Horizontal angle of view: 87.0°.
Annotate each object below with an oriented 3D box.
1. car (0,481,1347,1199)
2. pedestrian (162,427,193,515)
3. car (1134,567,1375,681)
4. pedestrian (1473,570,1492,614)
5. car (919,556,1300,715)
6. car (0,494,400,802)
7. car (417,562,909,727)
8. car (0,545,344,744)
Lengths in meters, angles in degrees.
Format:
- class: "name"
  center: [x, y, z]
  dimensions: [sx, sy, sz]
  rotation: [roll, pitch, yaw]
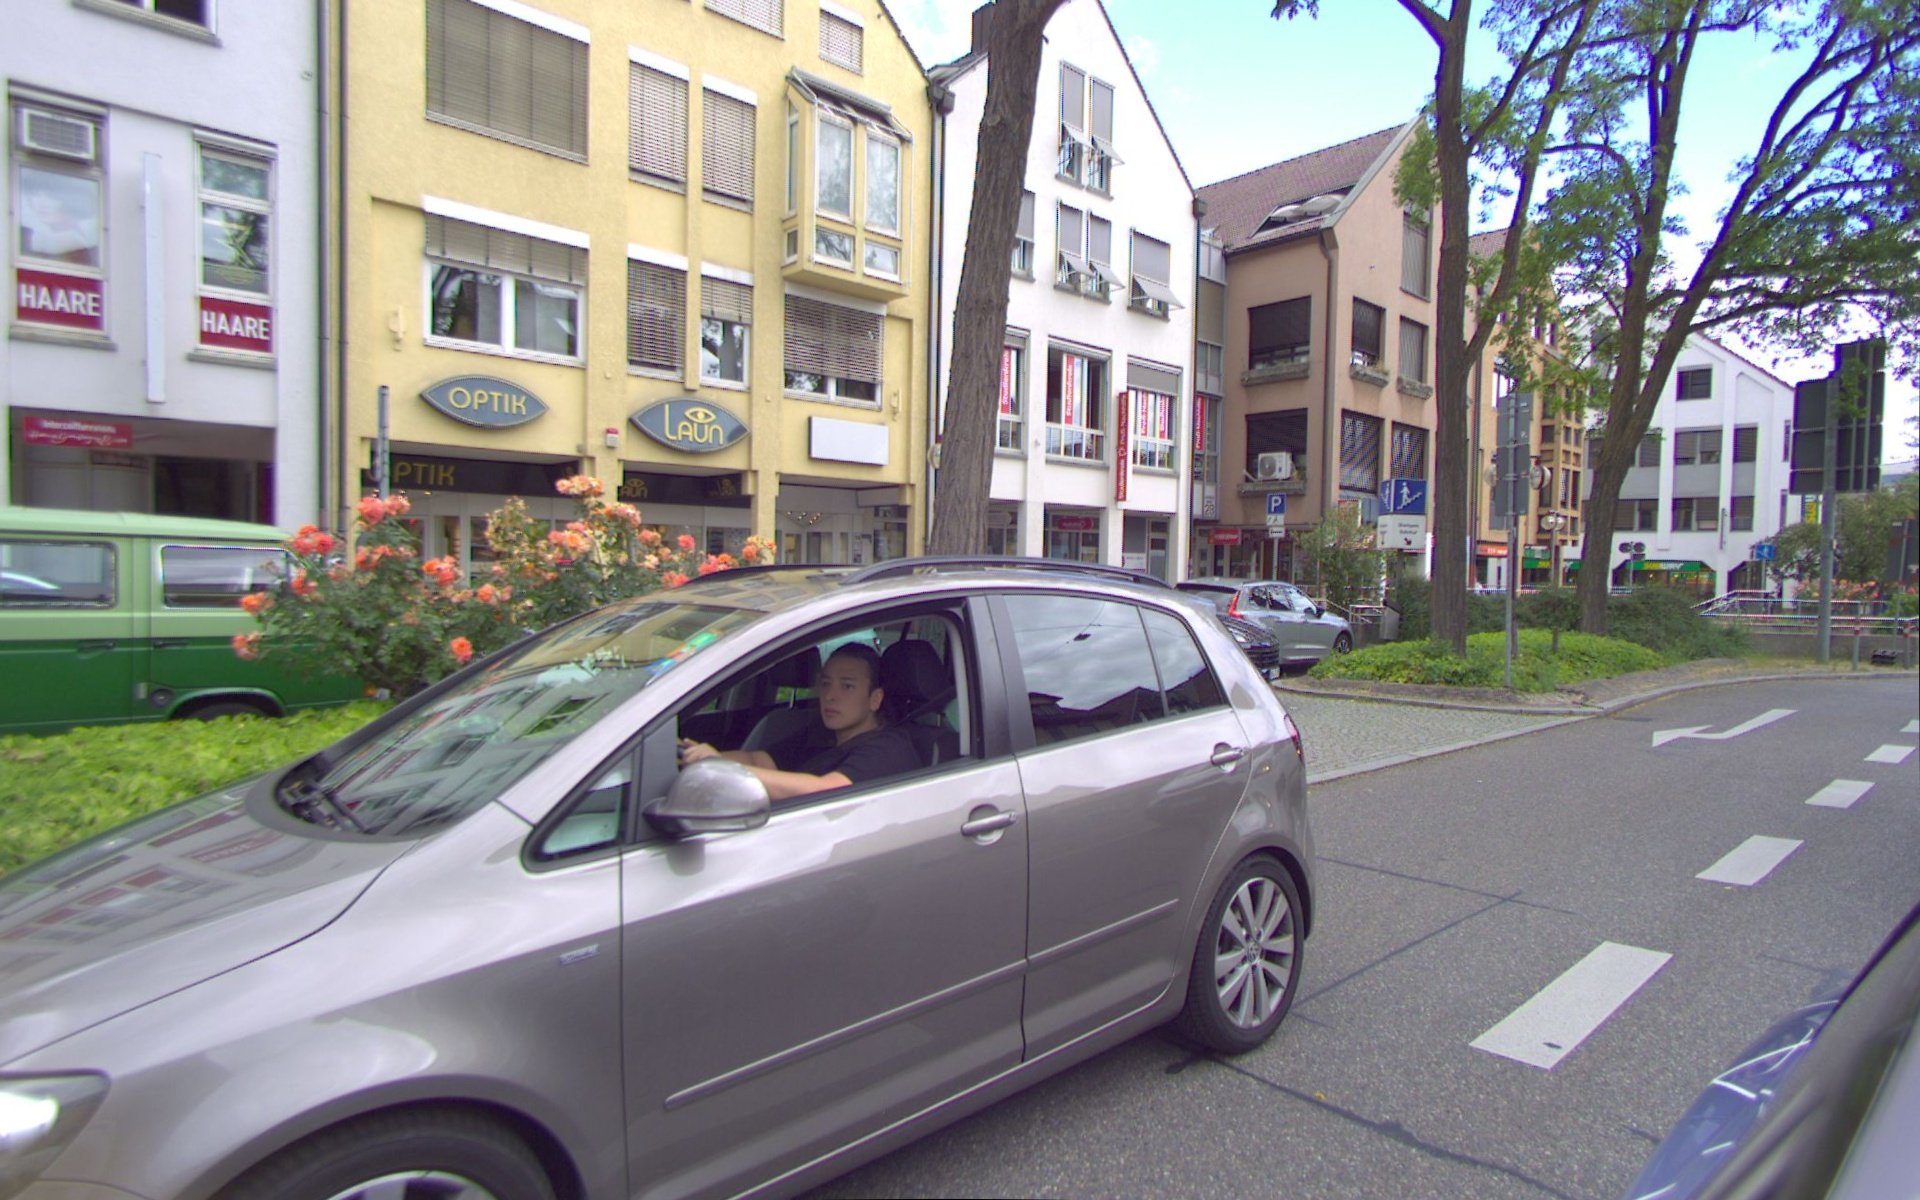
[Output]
- class: "car"
  center: [-0.640, 0.617, 3.007]
  dimensions: [3.932, 1.549, 1.799]
  rotation: [0, 0, -43]
- class: "pedestrian"
  center: [-15.091, -2.479, 19.523]
  dimensions: [0.417, 1.631, 0.555]
  rotation: [0, 2, -44]
- class: "car"
  center: [5.275, 0.300, 17.756]
  dimensions: [4.676, 1.674, 1.996]
  rotation: [-1, 4, -44]
- class: "pedestrian"
  center: [19.814, -0.303, 38.393]
  dimensions: [0.496, 1.645, 0.493]
  rotation: [0, 2, -45]
- class: "car"
  center: [1.971, 0.348, 13.785]
  dimensions: [4.715, 1.699, 1.979]
  rotation: [3, 2, 30]
- class: "car"
  center: [-6.656, 0.246, 6.869]
  dimensions: [4.675, 1.899, 1.996]
  rotation: [-1, 4, -44]
- class: "car"
  center: [-2.917, 0.308, 10.678]
  dimensions: [4.674, 1.325, 1.841]
  rotation: [-1, 4, -43]
- class: "car"
  center: [-8.302, 0.317, 8.864]
  dimensions: [4.676, 1.566, 1.996]
  rotation: [-1, 4, -44]
